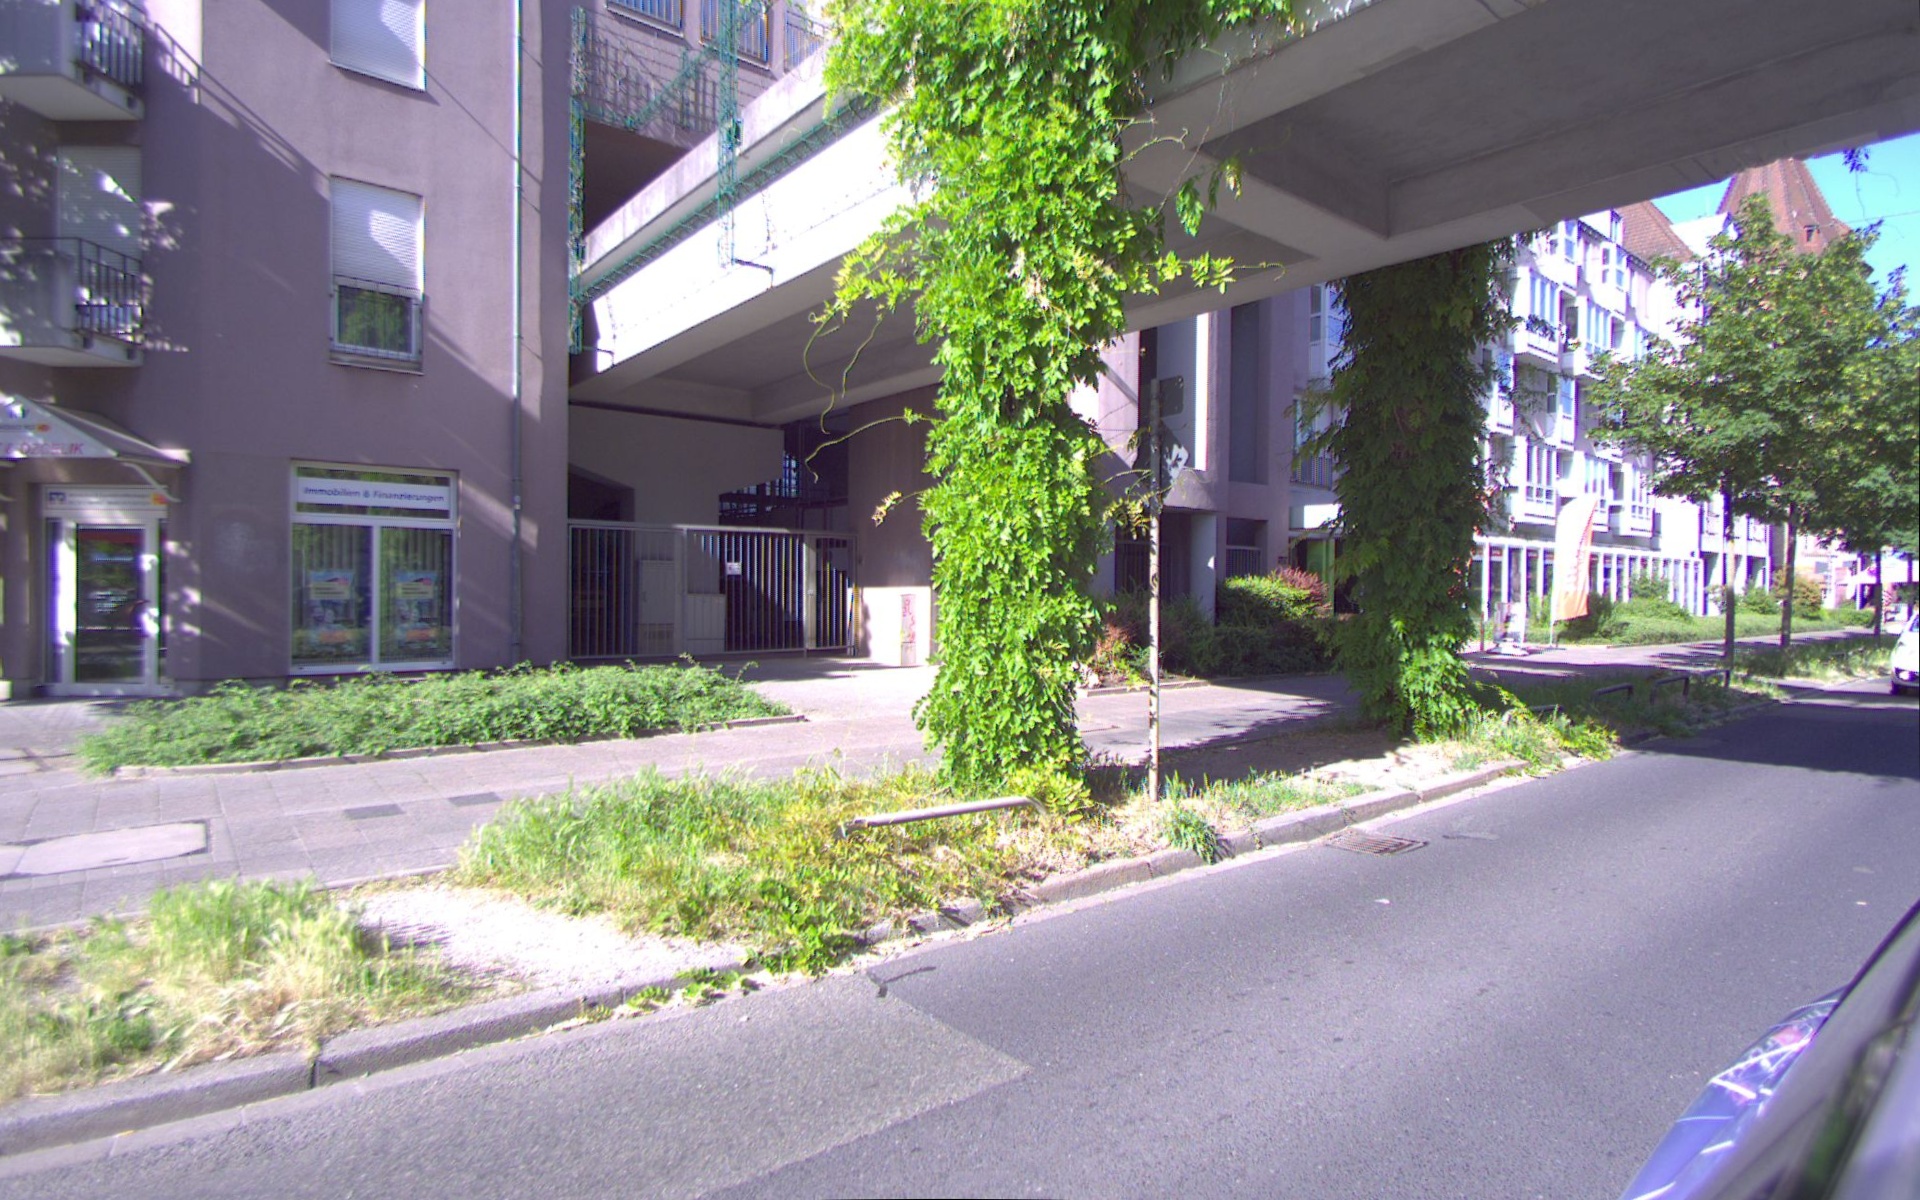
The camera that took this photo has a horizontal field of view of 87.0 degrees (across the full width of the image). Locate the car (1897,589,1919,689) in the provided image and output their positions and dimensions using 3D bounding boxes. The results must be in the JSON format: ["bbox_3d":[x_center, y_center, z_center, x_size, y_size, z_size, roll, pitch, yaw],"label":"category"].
[{"bbox_3d":[16.676,0.602,16.427,4.027,1.549,1.663,0,1,-40],"label":"car"}]
